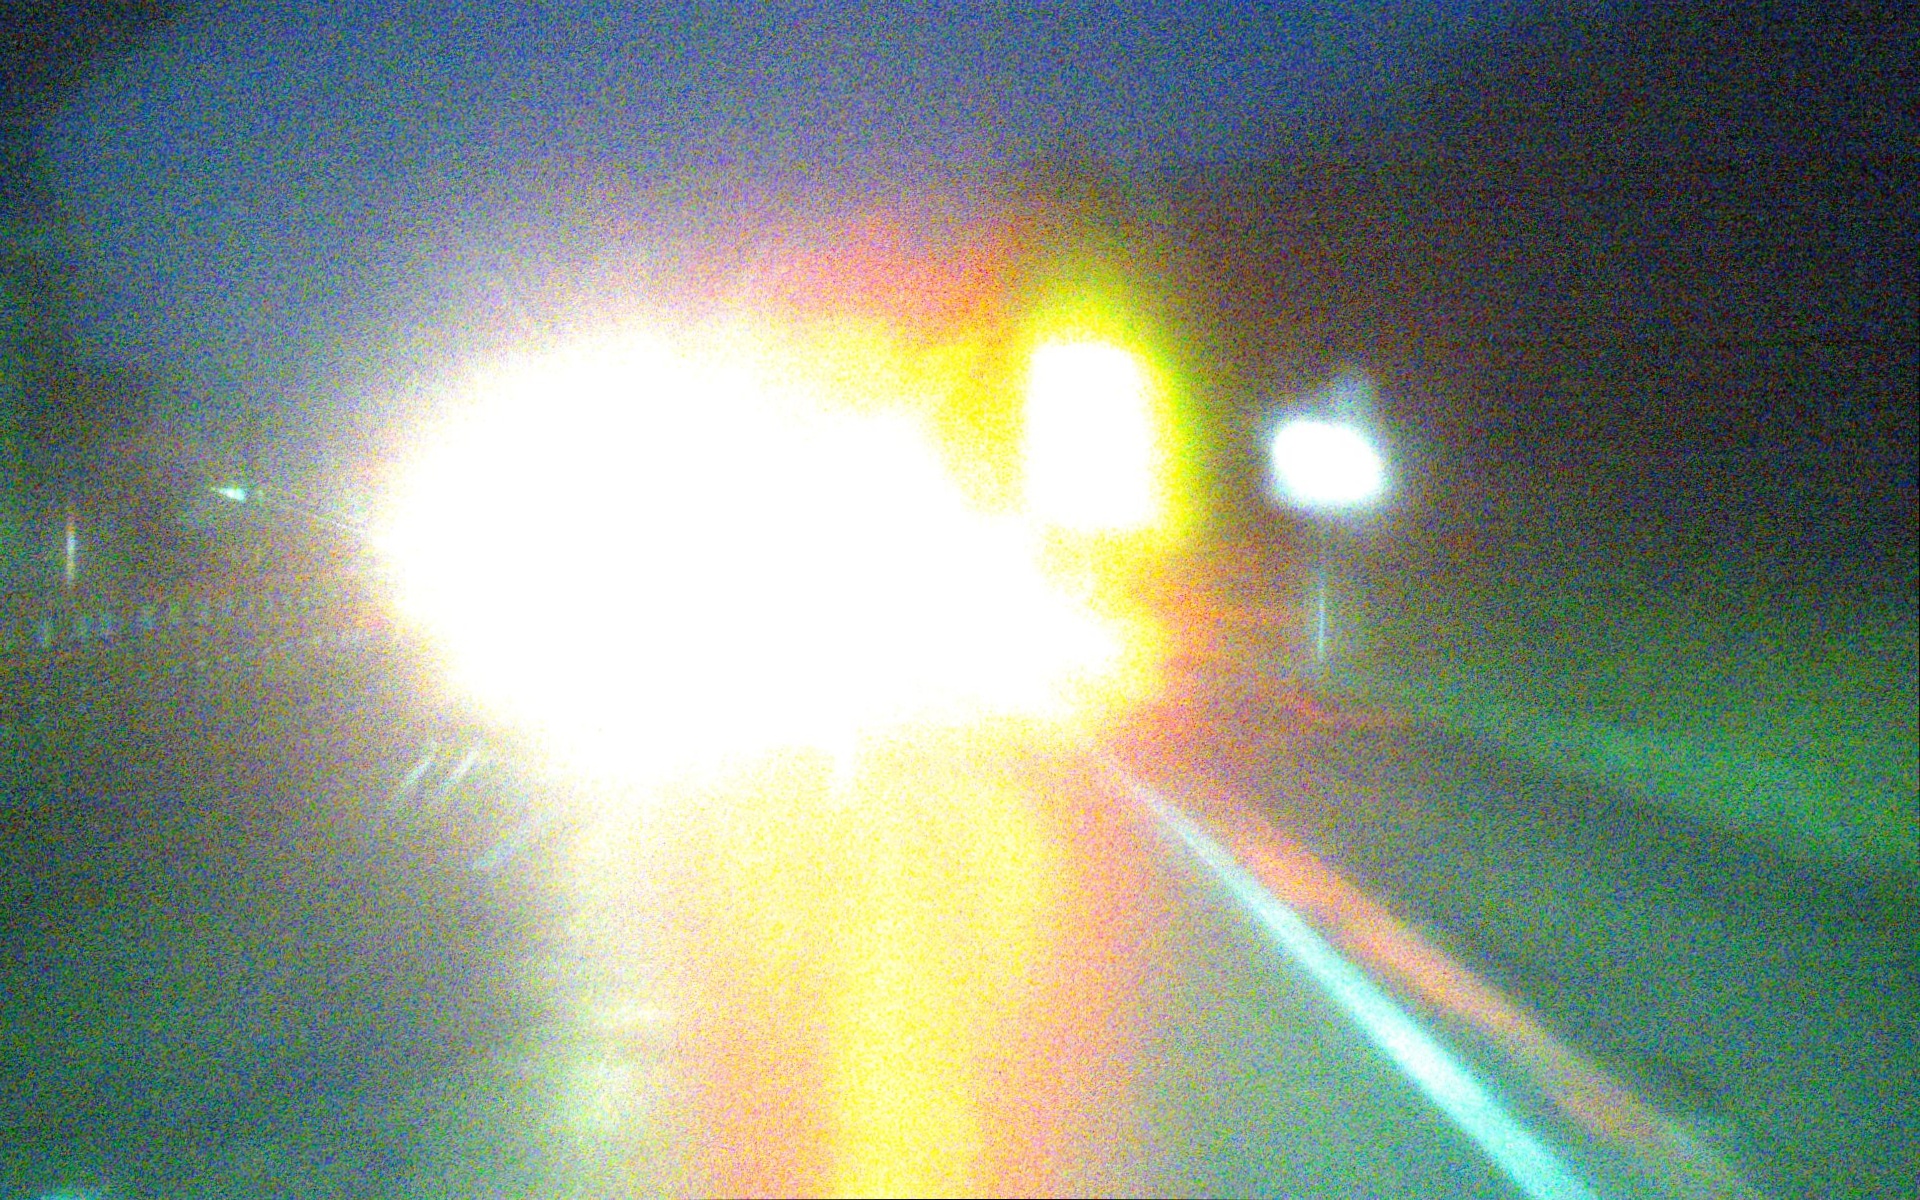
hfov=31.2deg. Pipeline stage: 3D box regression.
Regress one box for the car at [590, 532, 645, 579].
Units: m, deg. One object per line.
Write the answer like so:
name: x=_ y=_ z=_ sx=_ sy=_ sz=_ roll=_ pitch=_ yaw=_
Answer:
car: x=-12.006 y=-1.579 z=120.657 sx=1.862 sy=1.539 sz=4.230 roll=0 pitch=2 yaw=-5

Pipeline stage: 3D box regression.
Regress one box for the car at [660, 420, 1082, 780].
car: x=-0.745 y=-0.014 z=25.453 sx=2.715 sy=2.300 sz=6.101 roll=1 pitch=0 yaw=-3

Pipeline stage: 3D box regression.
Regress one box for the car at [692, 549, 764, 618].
car: x=-6.848 y=-0.508 z=101.495 sx=1.993 sy=1.908 sz=4.001 roll=3 pitch=1 yaw=-4
